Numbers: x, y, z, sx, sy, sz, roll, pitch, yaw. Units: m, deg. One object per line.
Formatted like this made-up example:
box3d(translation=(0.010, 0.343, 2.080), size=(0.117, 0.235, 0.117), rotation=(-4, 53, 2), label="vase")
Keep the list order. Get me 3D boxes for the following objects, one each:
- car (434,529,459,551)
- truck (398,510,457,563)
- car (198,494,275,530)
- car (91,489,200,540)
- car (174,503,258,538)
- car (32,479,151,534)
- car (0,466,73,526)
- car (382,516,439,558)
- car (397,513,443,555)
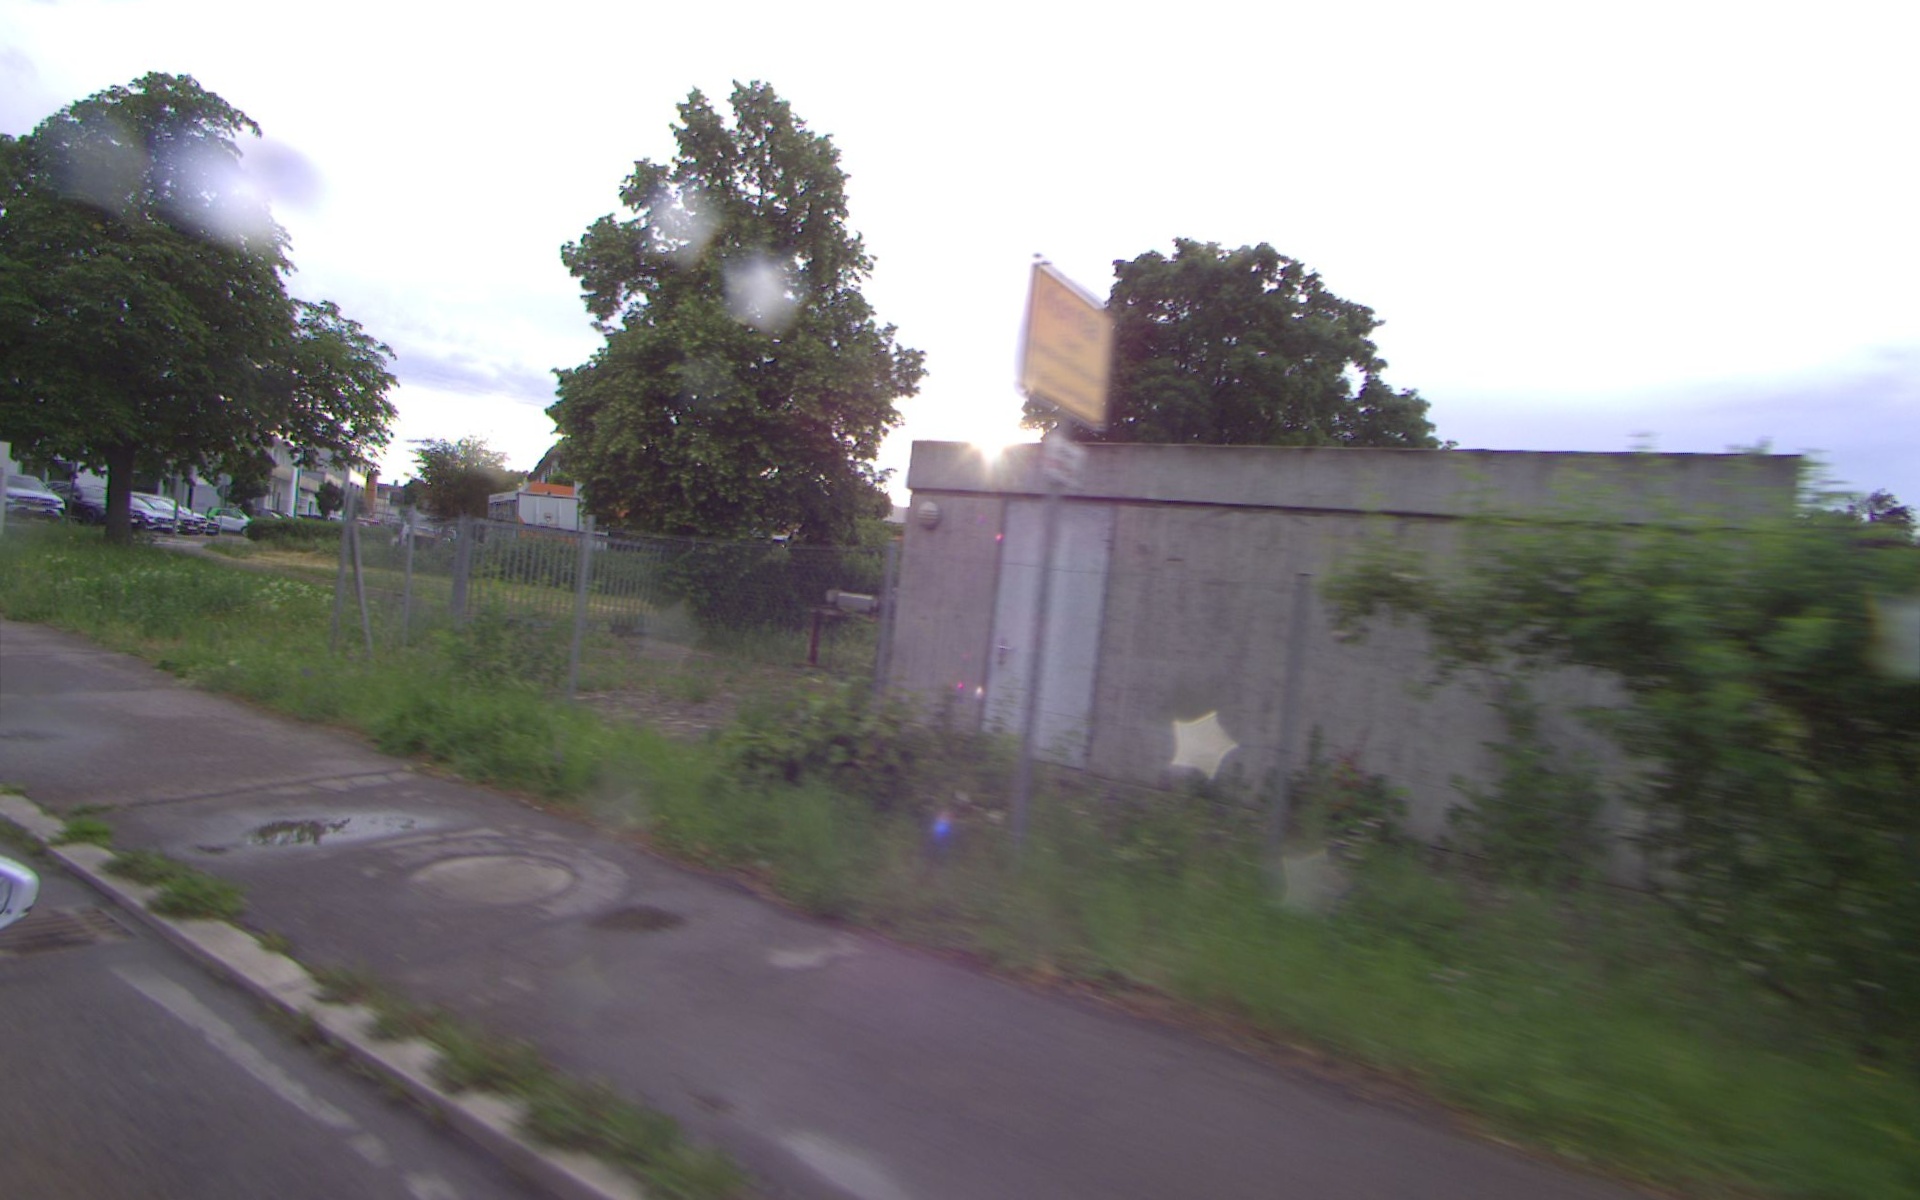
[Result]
box3d(translation=(-56.785, -6.614, 111.296), size=(1.900, 2.066, 4.271), rotation=(7, 0, -21), label="car")
box3d(translation=(-38.202, -4.465, 72.343), size=(2.453, 3.029, 6.894), rotation=(8, -2, -20), label="truck")
box3d(translation=(-45.062, -5.438, 62.746), size=(3.631, 1.512, 1.642), rotation=(9, -2, -32), label="car")
box3d(translation=(-35.851, -3.767, 44.252), size=(4.534, 1.621, 1.656), rotation=(7, -2, 23), label="car")
box3d(translation=(-43.794, -4.669, 59.306), size=(3.628, 1.391, 1.643), rotation=(9, -2, -30), label="car")
box3d(translation=(-35.131, -3.789, 40.679), size=(4.534, 1.621, 1.656), rotation=(7, -2, 23), label="car")
box3d(translation=(-34.780, -3.880, 36.857), size=(4.540, 1.771, 1.941), rotation=(6, -2, 30), label="car")
box3d(translation=(-31.535, -3.626, 57.661), size=(1.770, 2.058, 4.241), rotation=(8, -1, -41), label="car")
box3d(translation=(-34.840, -4.217, 64.991), size=(1.900, 2.278, 4.271), rotation=(7, 0, -21), label="car")
